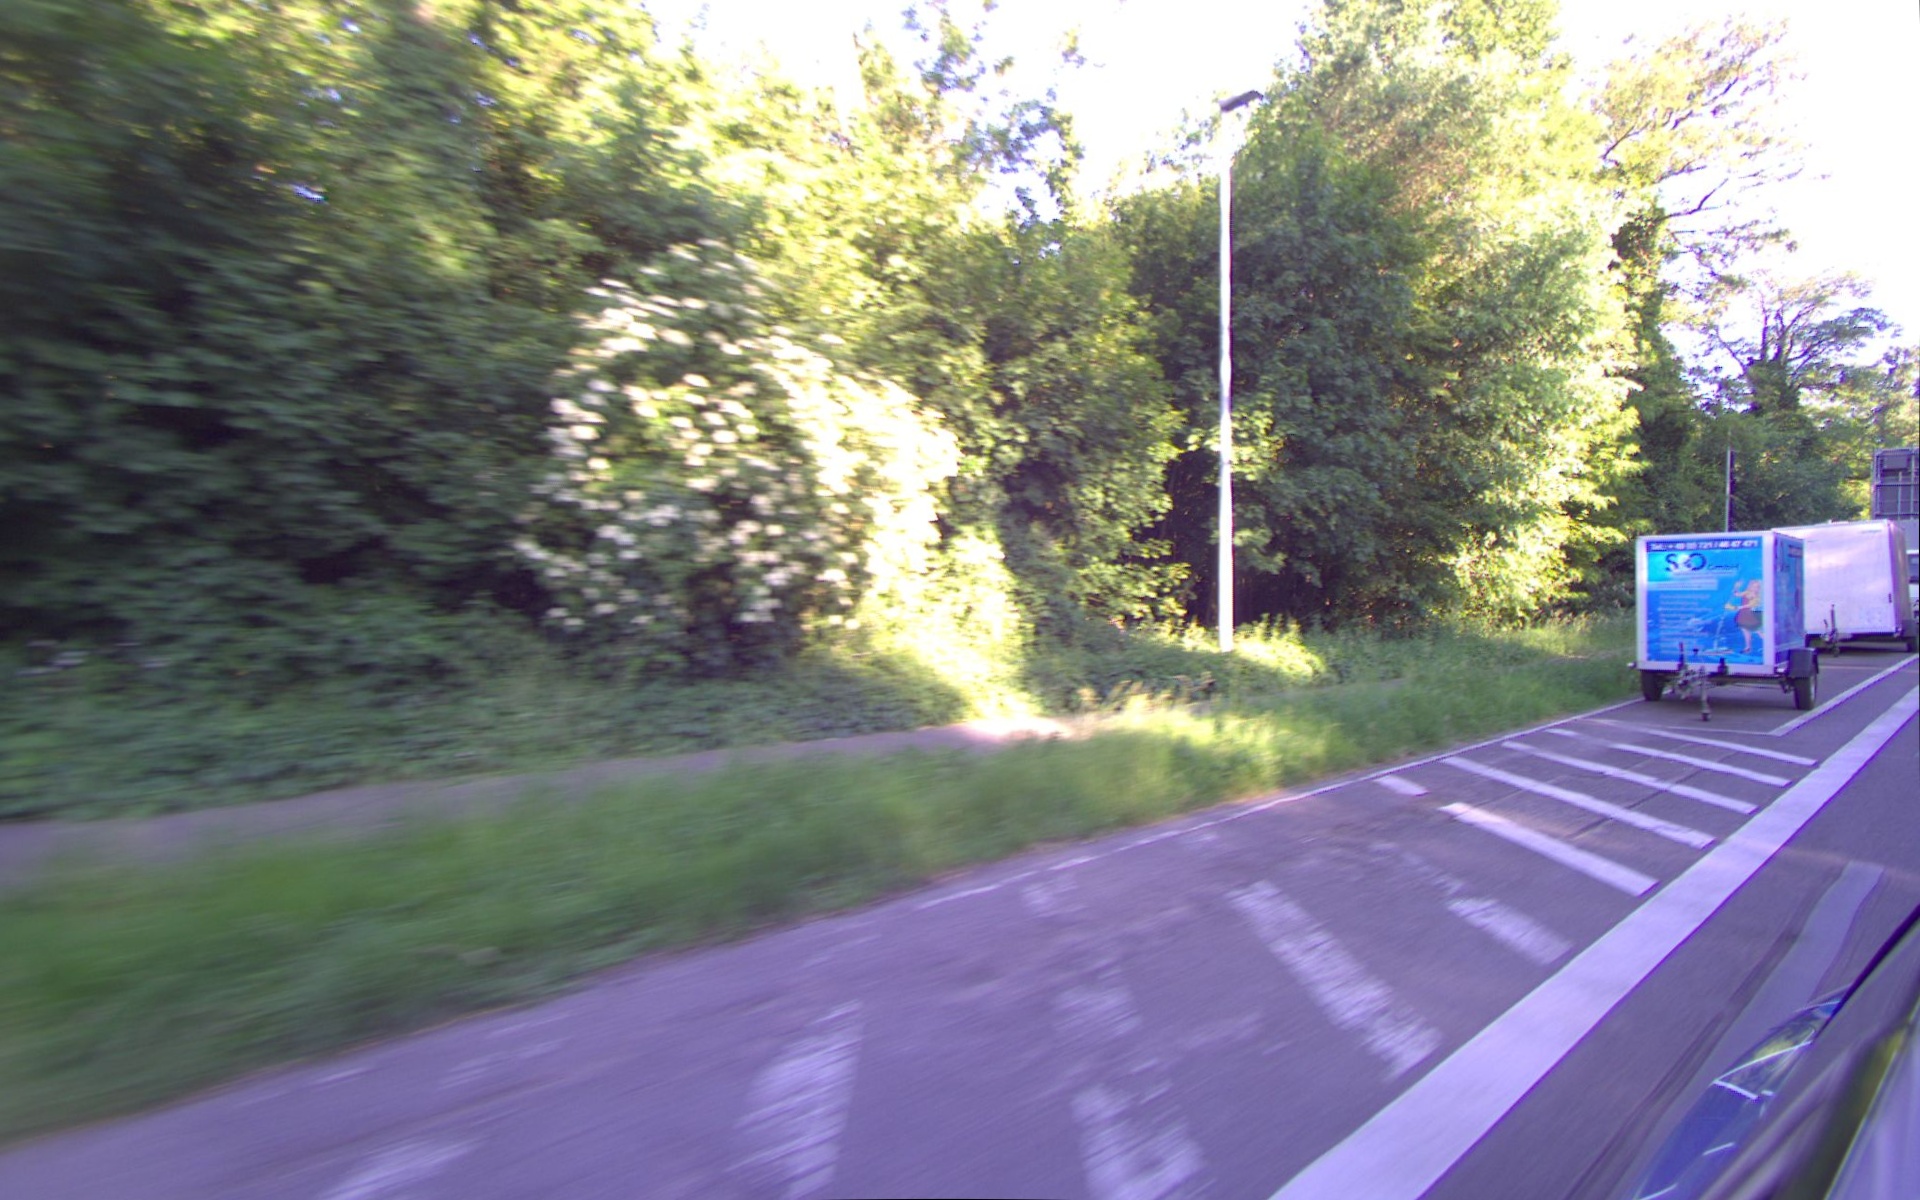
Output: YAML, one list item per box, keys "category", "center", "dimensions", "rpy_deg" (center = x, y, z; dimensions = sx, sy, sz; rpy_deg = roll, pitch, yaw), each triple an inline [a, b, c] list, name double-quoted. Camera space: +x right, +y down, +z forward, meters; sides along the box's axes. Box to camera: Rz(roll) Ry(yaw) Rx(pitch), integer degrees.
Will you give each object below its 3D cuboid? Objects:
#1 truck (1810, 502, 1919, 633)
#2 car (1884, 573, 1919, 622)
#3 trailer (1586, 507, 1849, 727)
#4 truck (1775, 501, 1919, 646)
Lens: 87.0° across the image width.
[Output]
- category: "truck"
  center: [26.159, -0.922, 28.325]
  dimensions: [7.010, 3.276, 2.703]
  rpy_deg: [-2, 4, -43]
- category: "car"
  center: [31.314, -0.108, 32.721]
  dimensions: [3.847, 1.482, 1.804]
  rpy_deg: [-2, 4, -43]
- category: "trailer"
  center: [9.272, 0.126, 12.266]
  dimensions: [4.060, 2.205, 1.866]
  rpy_deg: [-2, 1, -43]
- category: "truck"
  center: [20.583, -0.576, 23.036]
  dimensions: [5.505, 2.908, 2.386]
  rpy_deg: [-2, 0, -43]
